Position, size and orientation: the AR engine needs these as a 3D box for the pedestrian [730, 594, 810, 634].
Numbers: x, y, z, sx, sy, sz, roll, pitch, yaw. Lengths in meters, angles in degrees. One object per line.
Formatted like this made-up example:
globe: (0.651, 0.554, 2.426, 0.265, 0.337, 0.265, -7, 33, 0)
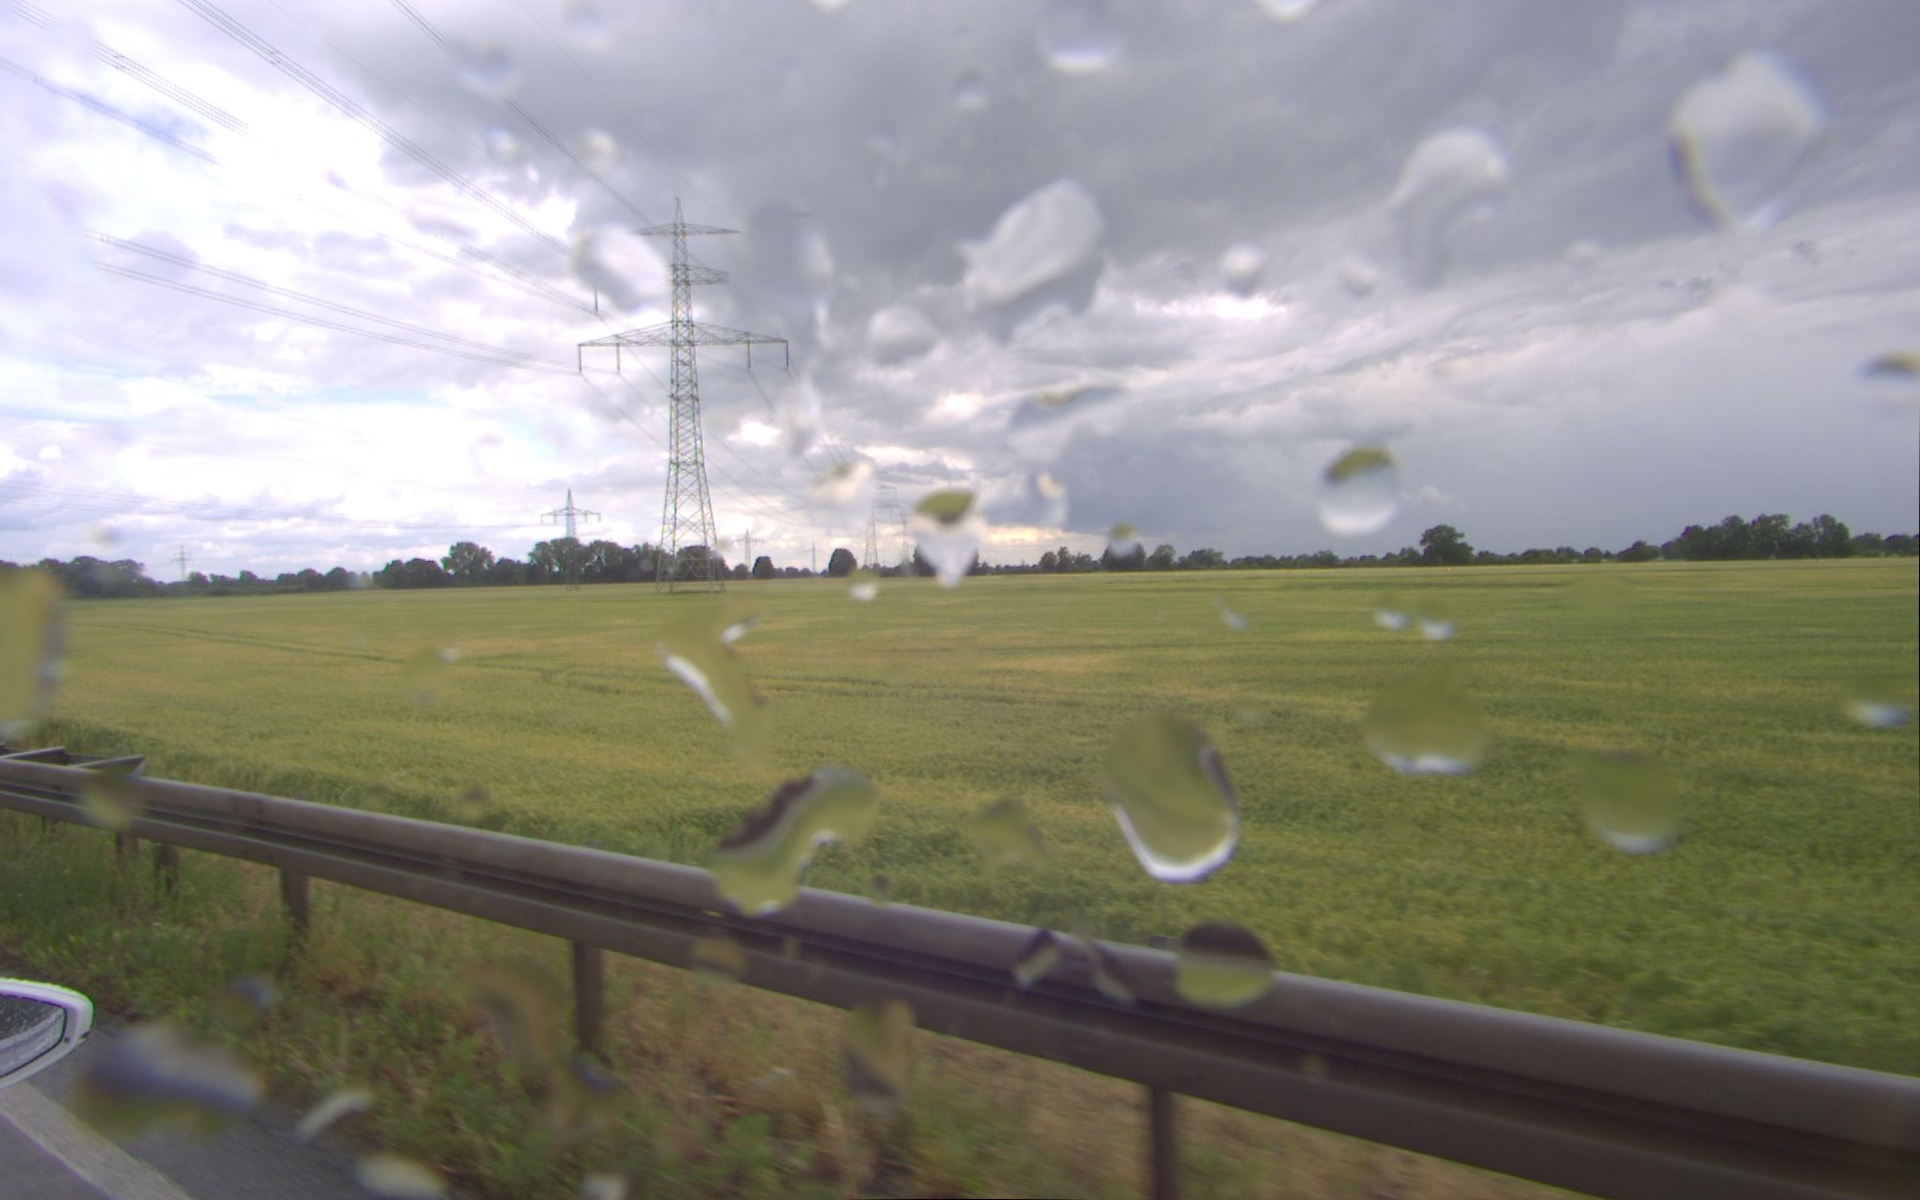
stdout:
pedestrian: (-10.358, 0.793, 54.430, 3.940, 2.039, 1.992, -1, -2, 29)
